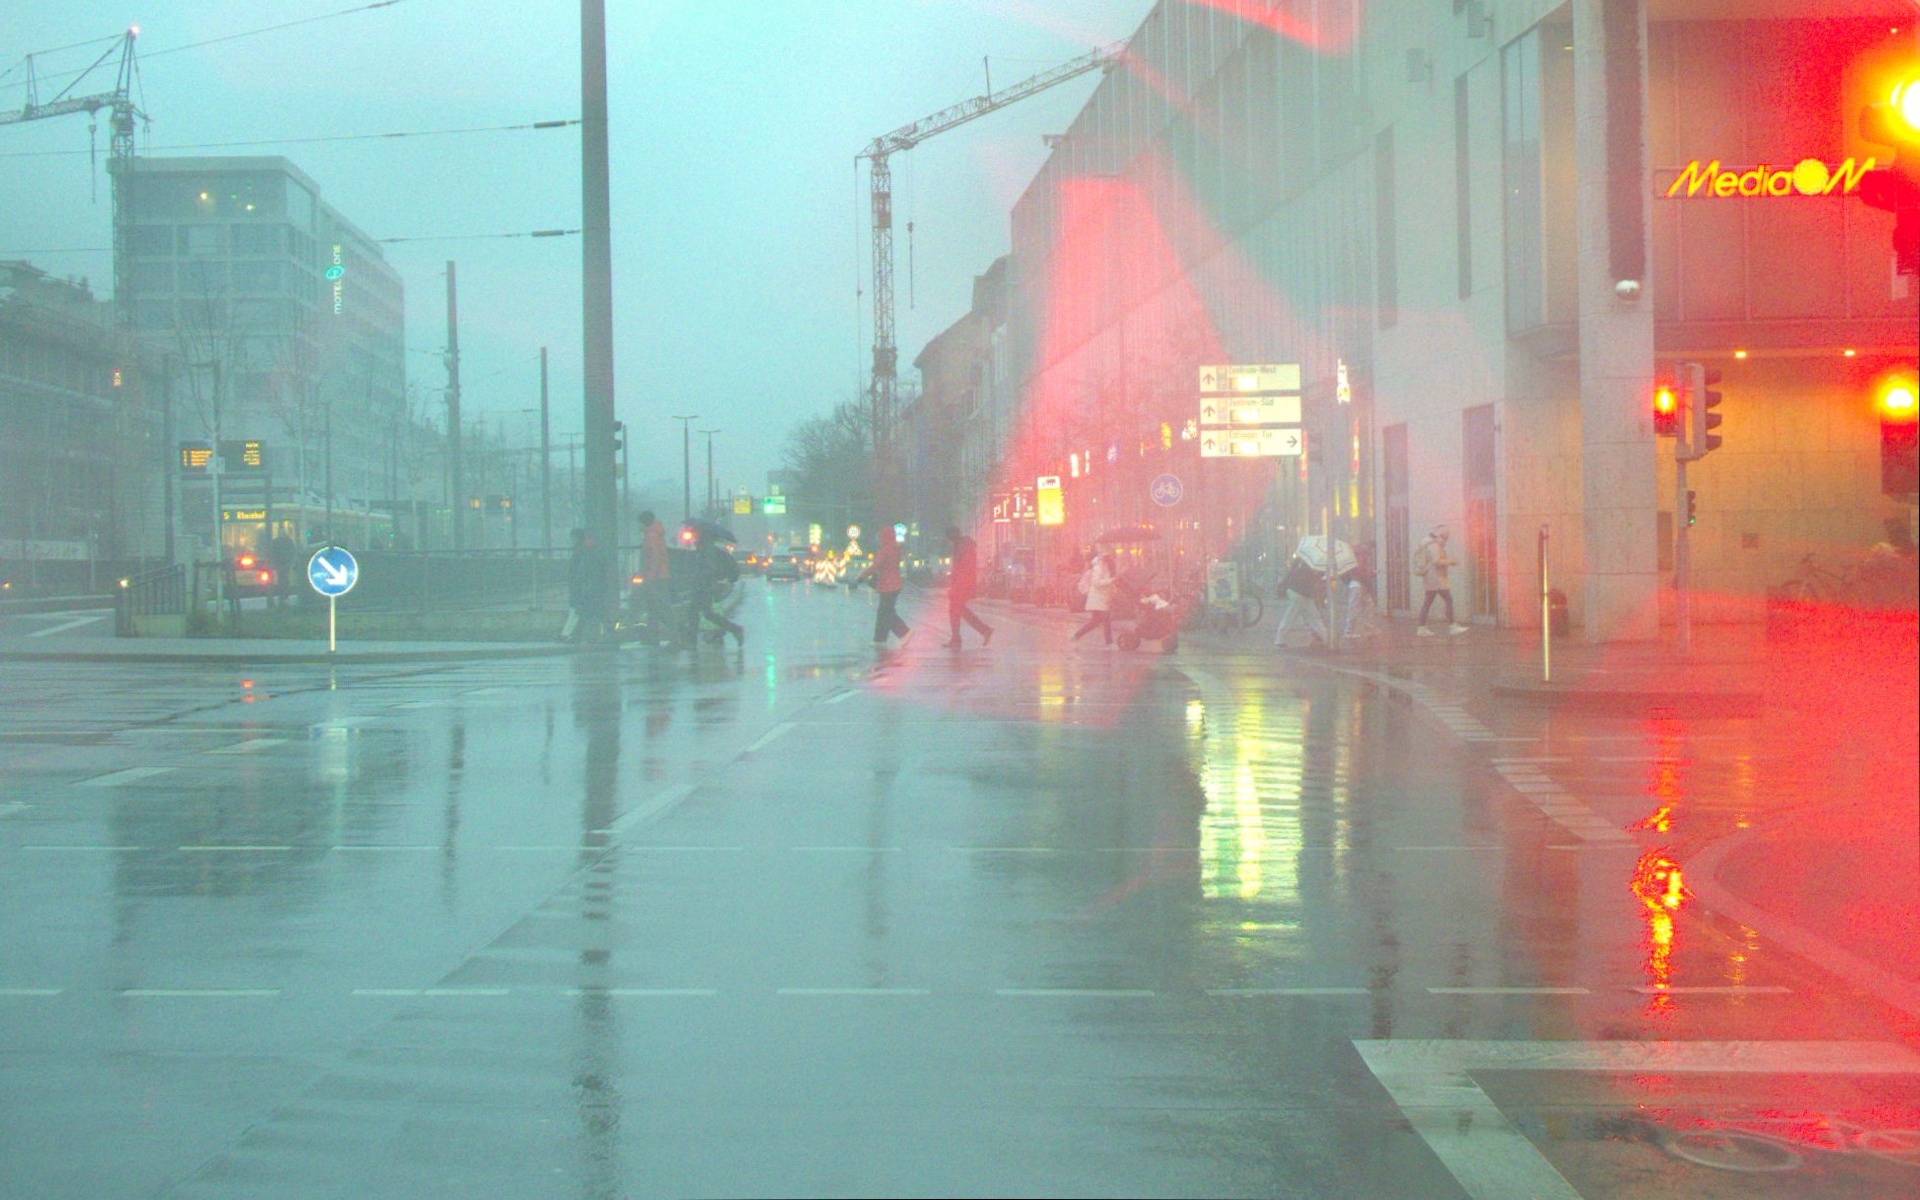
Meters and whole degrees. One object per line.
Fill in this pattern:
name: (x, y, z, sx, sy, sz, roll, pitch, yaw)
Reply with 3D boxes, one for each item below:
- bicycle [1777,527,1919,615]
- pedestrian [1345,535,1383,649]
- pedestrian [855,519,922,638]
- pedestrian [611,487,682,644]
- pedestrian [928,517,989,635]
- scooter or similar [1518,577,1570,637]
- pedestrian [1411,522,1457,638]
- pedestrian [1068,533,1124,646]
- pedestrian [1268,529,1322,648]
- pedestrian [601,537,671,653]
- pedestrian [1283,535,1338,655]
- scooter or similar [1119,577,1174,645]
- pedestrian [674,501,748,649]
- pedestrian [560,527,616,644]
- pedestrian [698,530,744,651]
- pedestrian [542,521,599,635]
bicycle: (13.920, -0.461, 53.175, 2.425, 1.325, 0.635, -1, 1, -5)
pedestrian: (6.261, -0.127, 53.297, 0.512, 1.754, 0.374, -1, 1, 0)
pedestrian: (-1.023, -0.312, 49.168, 0.831, 1.673, 0.619, -1, 1, 10)
pedestrian: (-4.220, -0.467, 46.283, 0.686, 2.080, 0.613, -2, 1, -40)
pedestrian: (-0.022, -0.351, 50.041, 0.843, 1.682, 0.677, -1, 1, 2)
scooter or similar: (9.211, 0.108, 54.216, 0.741, 0.913, 0.400, -1, 1, 1)
pedestrian: (7.236, -0.301, 52.504, 0.617, 1.754, 0.482, -1, 1, 0)
pedestrian: (2.010, -0.156, 50.858, 0.741, 1.661, 0.400, -1, 1, 12)
pedestrian: (4.998, -0.171, 51.304, 0.703, 1.754, 0.652, -1, 1, 0)
pedestrian: (-4.554, -0.068, 48.313, 0.817, 1.613, 0.538, 0, 1, 38)
pedestrian: (5.152, -0.078, 50.553, 0.702, 1.754, 0.667, -1, 1, 0)
scooter or similar: (2.747, 0.165, 50.710, 0.741, 0.990, 0.400, -1, 1, 12)
pedestrian: (-3.429, -0.345, 47.294, 0.775, 2.007, 0.613, -2, 1, -38)
pedestrian: (-5.188, -0.201, 47.924, 0.706, 1.613, 0.613, -1, 1, -2)
pedestrian: (-3.489, -0.141, 50.188, 0.619, 1.740, 0.613, -1, 1, -5)
pedestrian: (-5.605, -0.320, 49.538, 0.706, 1.613, 0.680, -1, 1, 1)
